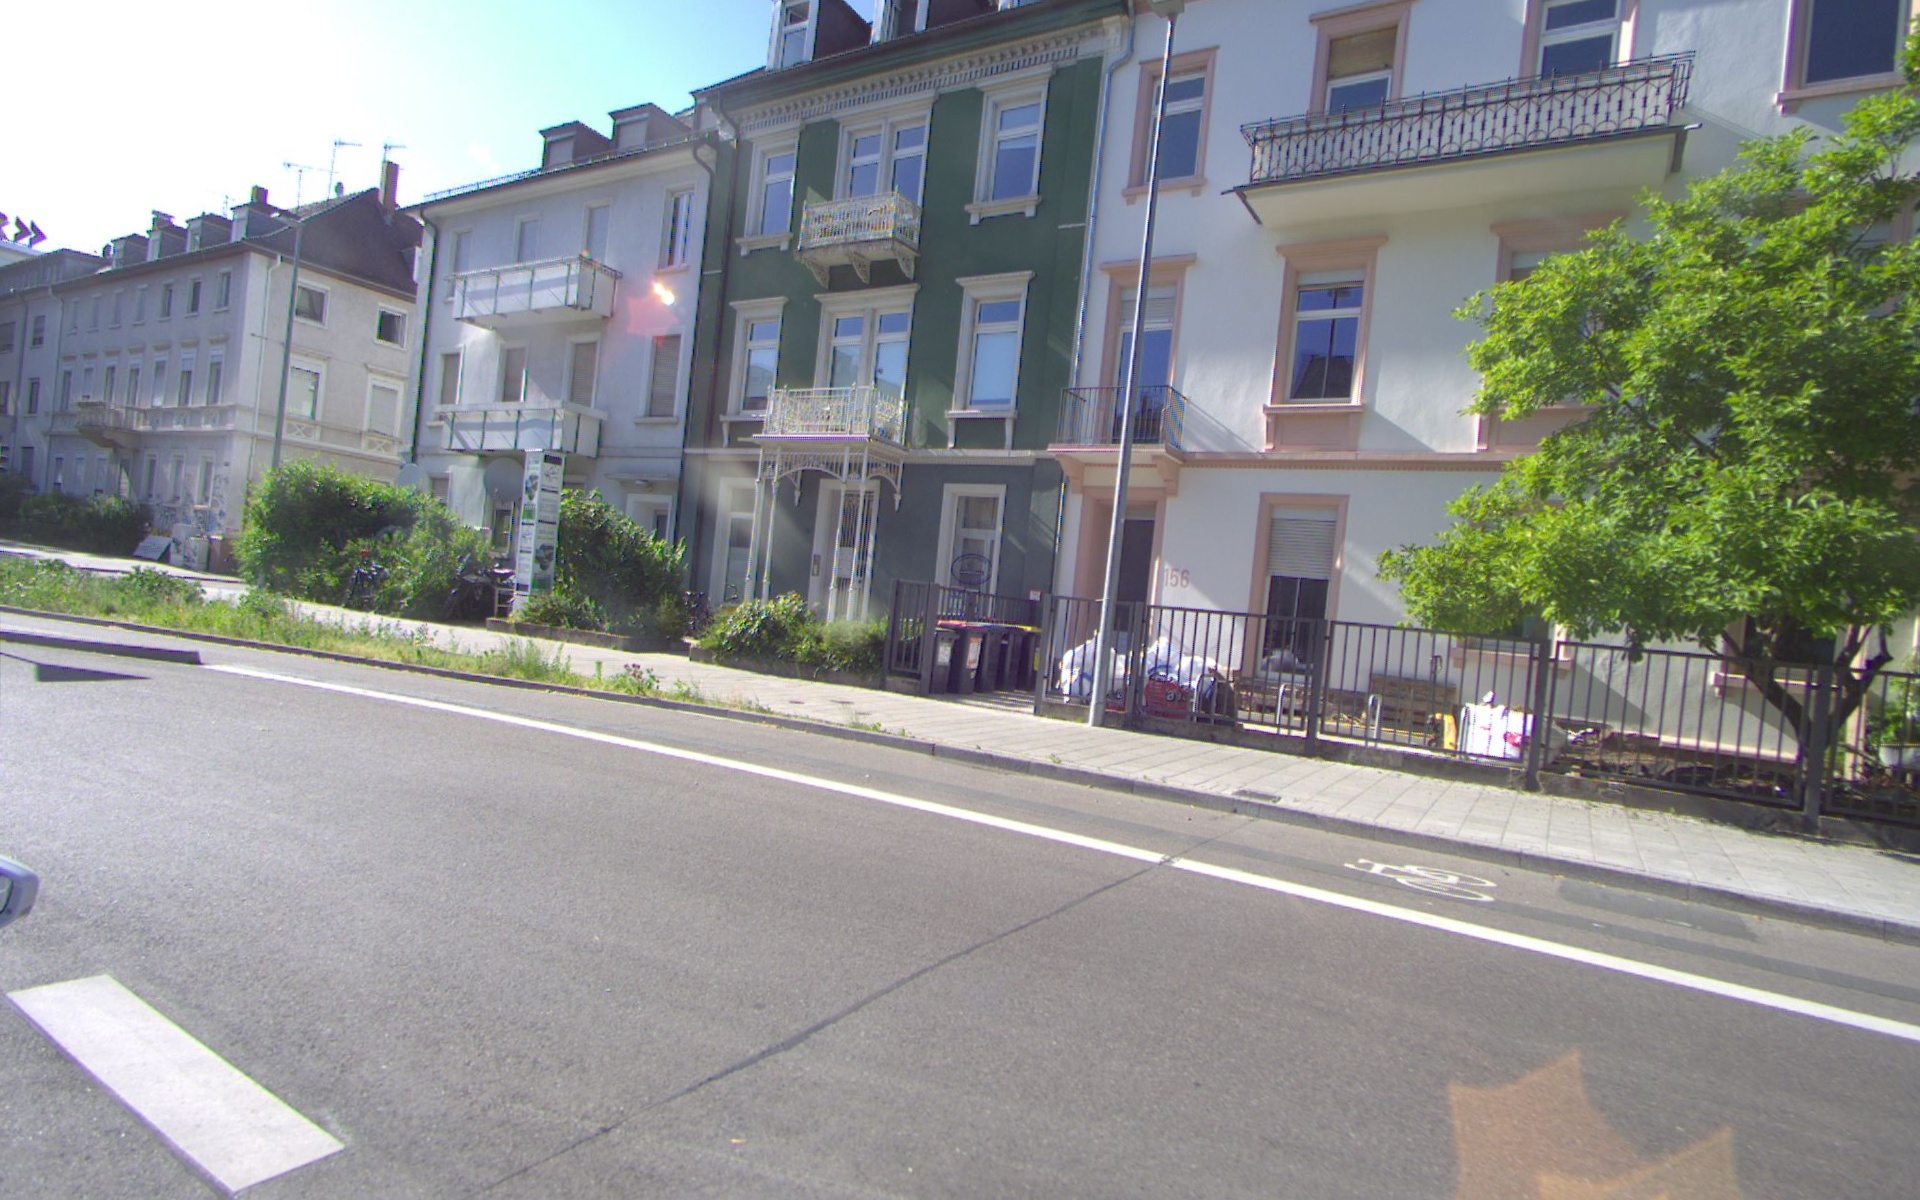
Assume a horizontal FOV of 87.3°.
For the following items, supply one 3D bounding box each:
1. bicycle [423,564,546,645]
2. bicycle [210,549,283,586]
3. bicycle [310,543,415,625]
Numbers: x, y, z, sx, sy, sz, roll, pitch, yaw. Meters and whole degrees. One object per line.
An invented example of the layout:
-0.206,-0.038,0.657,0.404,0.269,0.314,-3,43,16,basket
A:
-10.018,0.126,21.290,0.628,1.502,2.258,6,-1,30,bicycle
-25.868,-1.157,36.498,0.570,1.093,1.998,6,-2,34,bicycle
-12.806,-0.351,21.533,2.450,1.460,0.709,7,-1,31,bicycle
